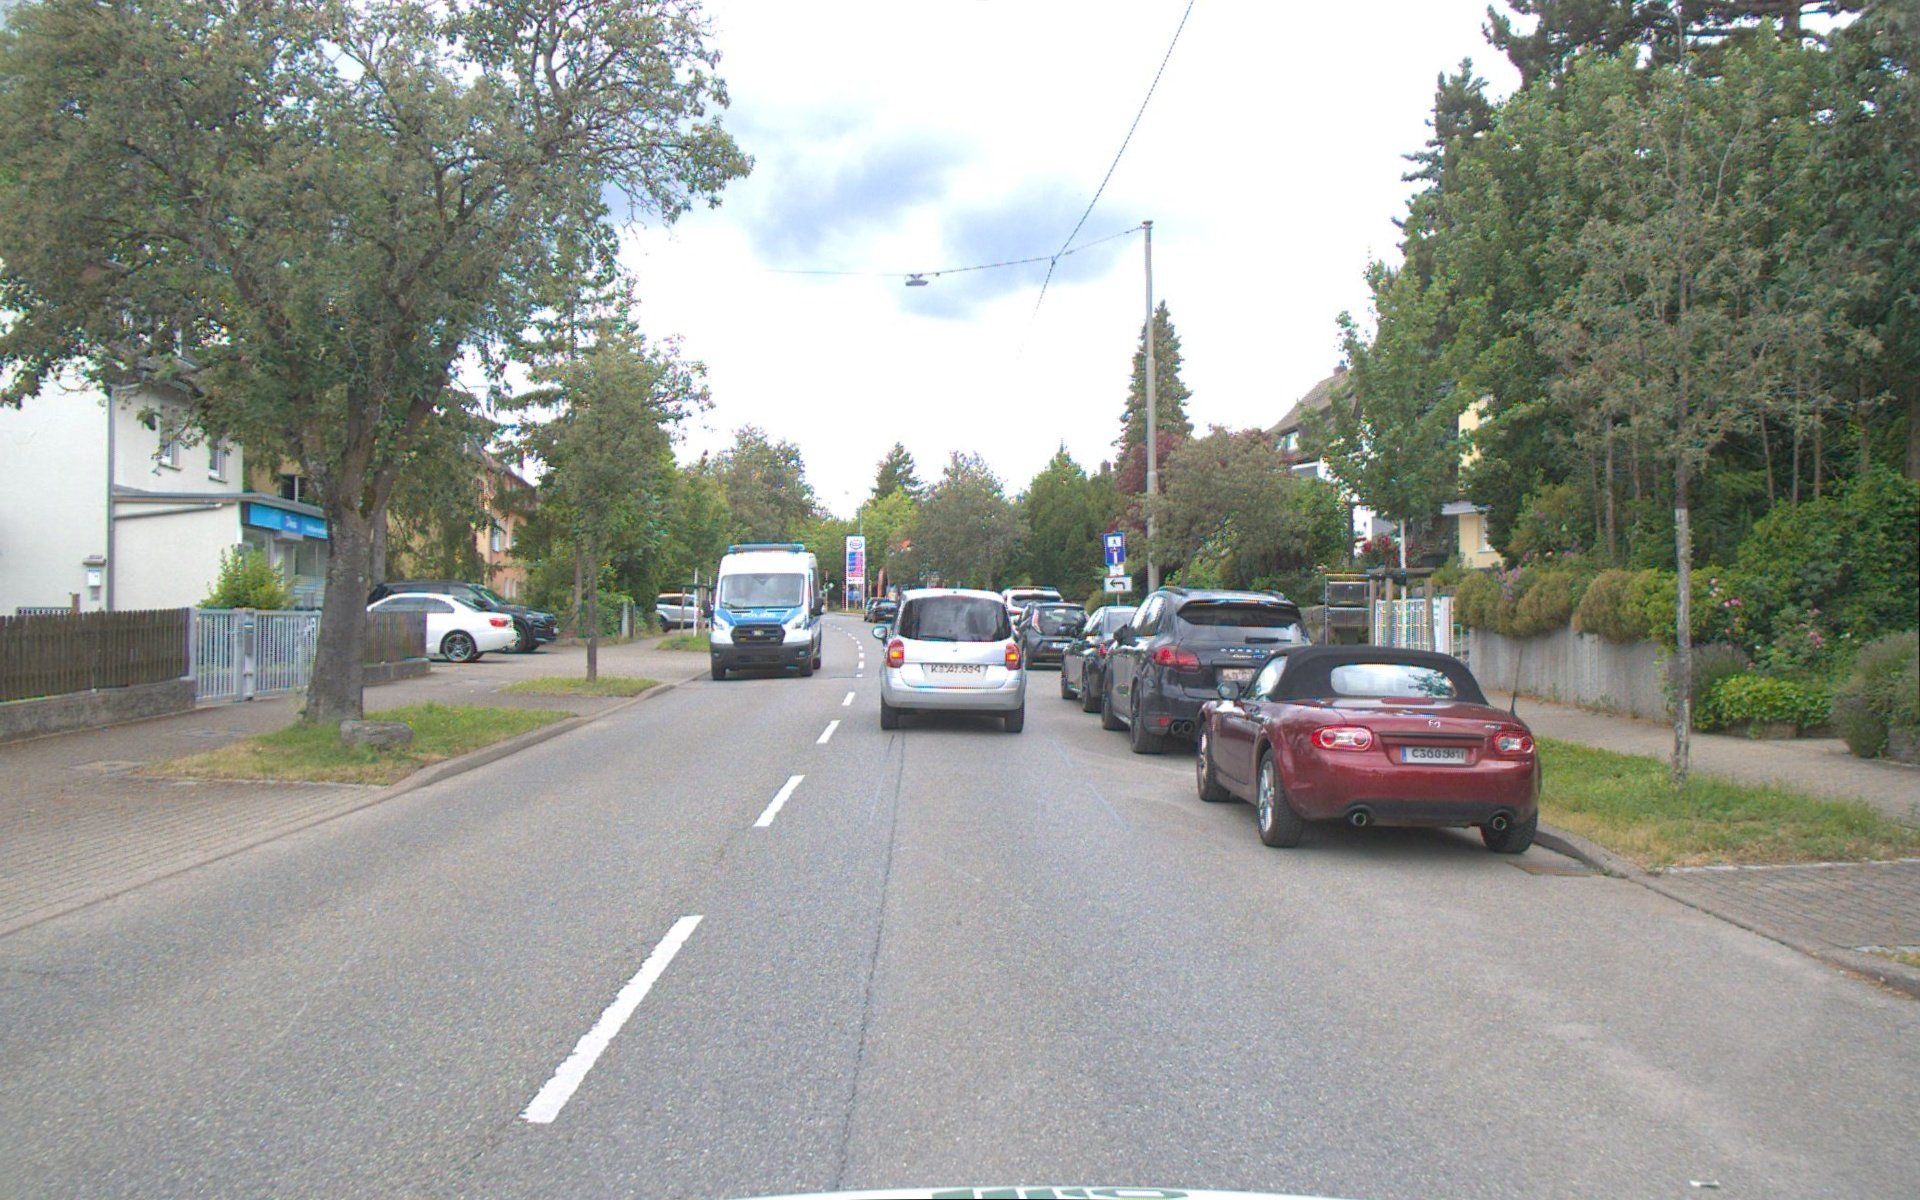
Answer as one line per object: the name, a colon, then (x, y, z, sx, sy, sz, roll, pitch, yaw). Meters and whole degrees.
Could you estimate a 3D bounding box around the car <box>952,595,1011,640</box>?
car: (0.703, 0.582, 56.980, 1.595, 1.477, 3.871, 0, 0, -6)

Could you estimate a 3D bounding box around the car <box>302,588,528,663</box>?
car: (-11.390, 0.531, 34.815, 4.198, 1.392, 1.813, 2, -1, -8)

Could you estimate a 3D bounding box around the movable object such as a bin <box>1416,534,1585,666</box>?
movable object such as a bin: (8.860, 0.007, 27.196, 2.266, 2.049, 1.341, 2, 0, -6)

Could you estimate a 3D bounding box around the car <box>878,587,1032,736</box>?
car: (-0.063, 0.658, 19.667, 1.645, 1.587, 3.511, 1, 0, 0)

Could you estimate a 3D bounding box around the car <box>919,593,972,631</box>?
car: (-0.659, 0.546, 72.521, 1.664, 1.585, 3.946, 2, -1, -10)

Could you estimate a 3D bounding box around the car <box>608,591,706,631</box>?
car: (-13.194, 0.478, 72.276, 4.005, 1.736, 1.746, 0, 0, -3)

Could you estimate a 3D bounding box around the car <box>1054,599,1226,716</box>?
car: (2.488, 0.752, 23.883, 1.793, 1.482, 4.548, 2, 0, -2)

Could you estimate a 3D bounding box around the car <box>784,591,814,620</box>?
car: (-8.855, 0.291, 91.052, 1.544, 1.498, 3.467, -3, 0, -5)

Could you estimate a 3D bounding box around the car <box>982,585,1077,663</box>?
car: (1.687, 0.569, 41.823, 1.764, 1.809, 4.700, 1, 0, -5)

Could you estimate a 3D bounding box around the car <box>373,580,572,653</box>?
car: (-11.842, 0.399, 40.370, 4.245, 1.646, 1.973, 1, -1, -1)

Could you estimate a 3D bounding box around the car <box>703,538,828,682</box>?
car: (-3.865, 0.180, 33.743, 2.032, 2.627, 5.297, -2, 0, -2)

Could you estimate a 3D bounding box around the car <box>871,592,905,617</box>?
car: (-4.514, 0.289, 103.312, 1.664, 1.532, 3.963, 0, 0, -10)

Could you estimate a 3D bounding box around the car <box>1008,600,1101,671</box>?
car: (2.057, 0.747, 36.777, 1.528, 1.468, 3.503, 1, 0, -5)

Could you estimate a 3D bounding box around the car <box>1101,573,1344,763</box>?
car: (2.665, 0.636, 17.826, 1.793, 1.742, 4.548, 1, 0, -1)

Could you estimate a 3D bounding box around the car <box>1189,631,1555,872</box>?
car: (2.663, 0.916, 11.530, 1.451, 1.257, 3.883, 2, 0, -2)

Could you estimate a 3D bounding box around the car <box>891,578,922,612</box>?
car: (-4.847, -0.469, 148.599, 2.238, 2.962, 5.271, 2, 0, -7)
